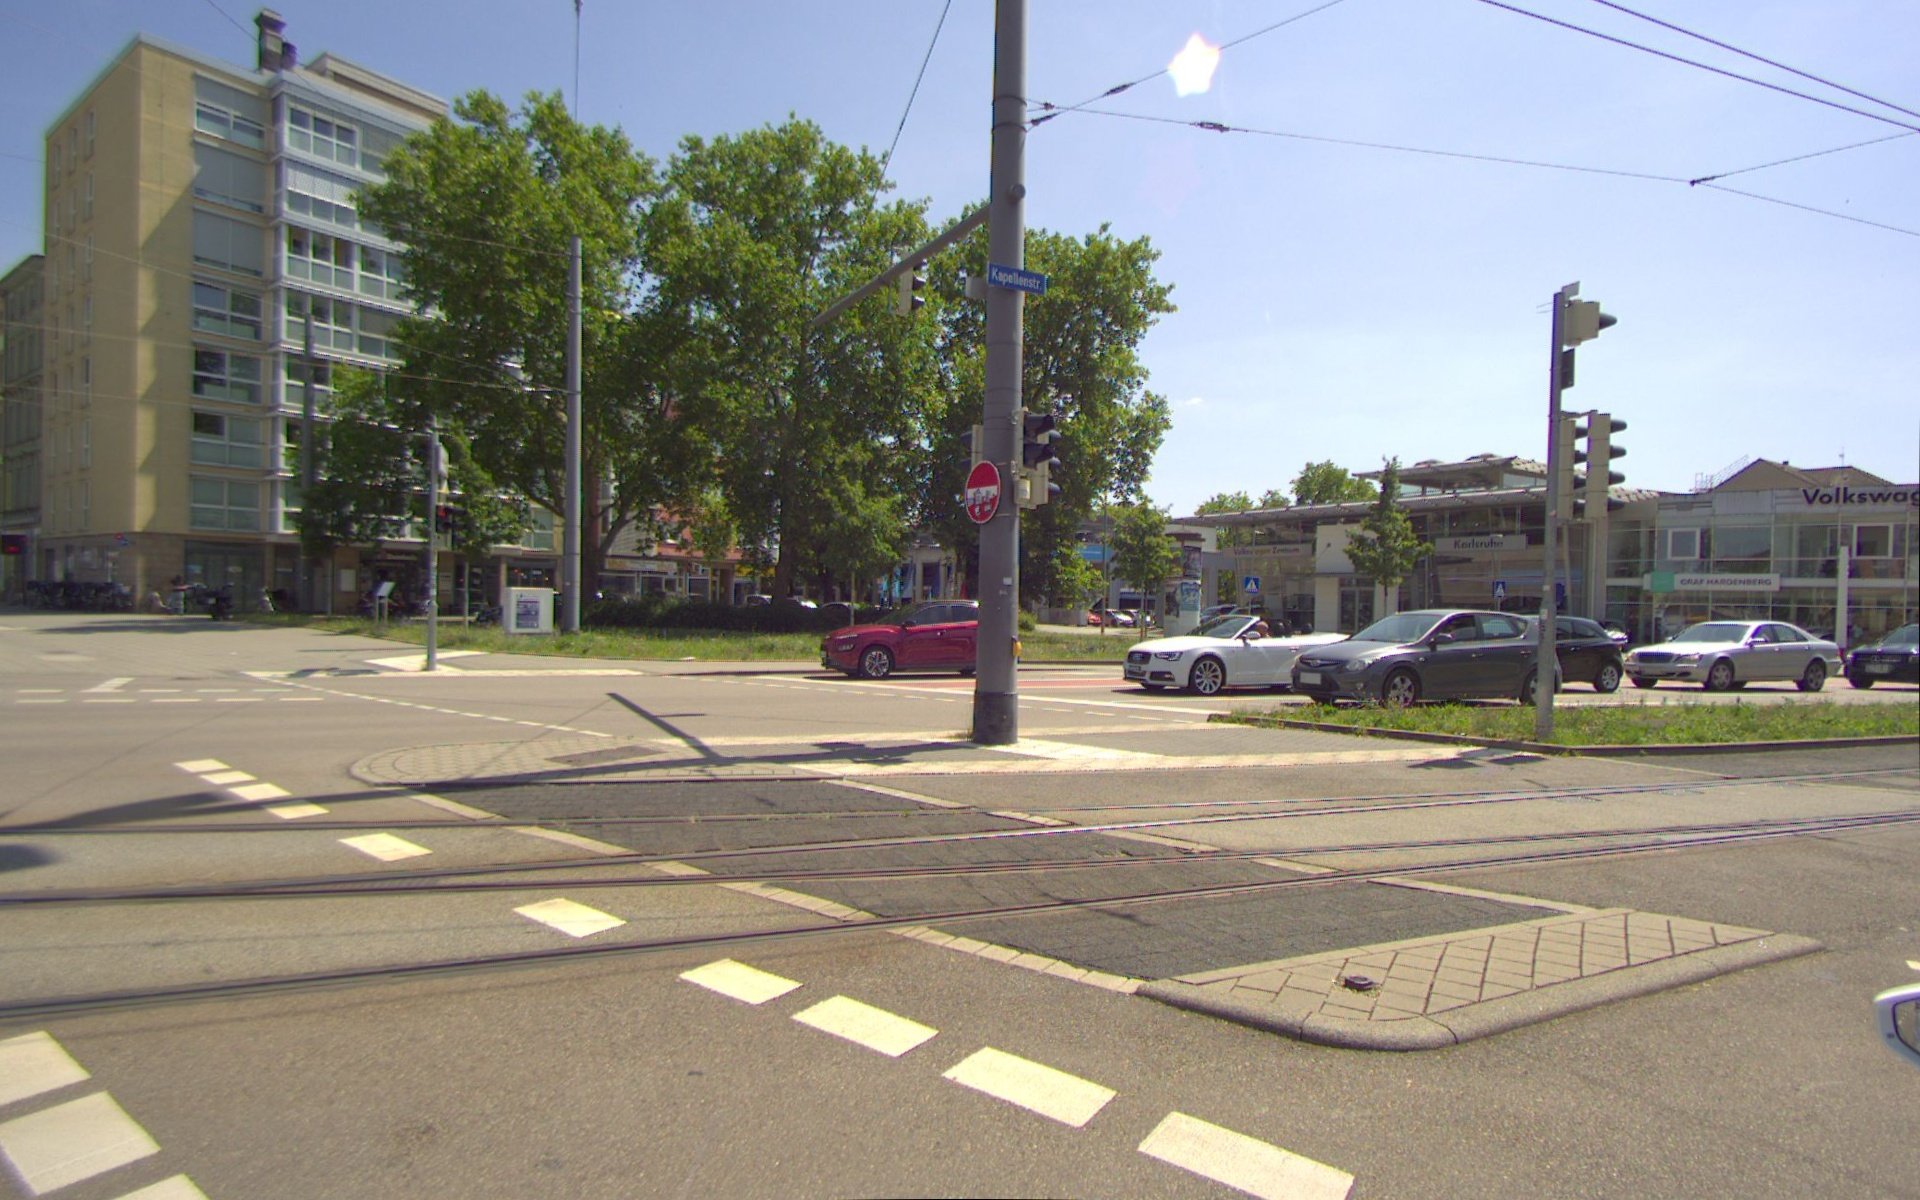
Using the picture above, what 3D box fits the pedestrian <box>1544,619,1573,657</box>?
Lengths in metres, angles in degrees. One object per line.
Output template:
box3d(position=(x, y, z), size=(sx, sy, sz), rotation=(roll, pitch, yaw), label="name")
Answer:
box3d(position=(26.707, 1.691, 44.836), size=(0.807, 1.664, 0.727), rotation=(1, 0, -18), label="pedestrian")

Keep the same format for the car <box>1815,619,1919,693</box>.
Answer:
box3d(position=(22.978, 1.334, 24.013), size=(4.454, 1.648, 1.821), rotation=(2, -1, -18), label="car")

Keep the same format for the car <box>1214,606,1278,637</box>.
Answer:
box3d(position=(17.985, 1.373, 63.130), size=(4.056, 1.857, 1.646), rotation=(2, 0, -34), label="car")

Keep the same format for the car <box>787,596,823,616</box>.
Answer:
box3d(position=(-11.890, 0.448, 76.849), size=(1.273, 1.506, 3.167), rotation=(1, 0, -40), label="car")

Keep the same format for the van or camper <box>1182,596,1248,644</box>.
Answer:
box3d(position=(16.589, 1.305, 65.366), size=(3.956, 3.043, 1.982), rotation=(1, 0, -33), label="van or camper")

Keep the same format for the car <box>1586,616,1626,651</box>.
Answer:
box3d(position=(29.916, 1.523, 46.455), size=(1.477, 1.476, 4.044), rotation=(1, 0, 34), label="car")

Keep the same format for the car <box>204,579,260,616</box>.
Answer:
box3d(position=(-24.313, -0.101, 33.583), size=(0.493, 1.170, 1.989), rotation=(2, 2, -3), label="car")

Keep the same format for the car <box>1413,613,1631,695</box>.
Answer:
box3d(position=(10.944, 1.031, 19.572), size=(3.846, 1.481, 1.668), rotation=(2, -1, -22), label="car")

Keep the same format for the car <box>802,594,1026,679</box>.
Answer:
box3d(position=(-0.933, 0.753, 20.664), size=(4.335, 1.619, 1.531), rotation=(1, -1, -22), label="car")

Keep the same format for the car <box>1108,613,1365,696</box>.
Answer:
box3d(position=(4.823, 0.946, 17.522), size=(4.142, 1.316, 1.704), rotation=(2, -2, -22), label="car")

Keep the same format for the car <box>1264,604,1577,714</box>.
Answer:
box3d(position=(6.970, 0.847, 15.242), size=(4.264, 1.500, 1.841), rotation=(1, -1, -20), label="car")

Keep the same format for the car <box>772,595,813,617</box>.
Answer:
box3d(position=(-12.472, 0.421, 74.746), size=(1.573, 1.506, 3.167), rotation=(1, 0, -40), label="car")

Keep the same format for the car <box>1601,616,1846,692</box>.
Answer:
box3d(position=(16.893, 1.192, 22.217), size=(5.055, 1.550, 1.990), rotation=(2, -2, -21), label="car")
